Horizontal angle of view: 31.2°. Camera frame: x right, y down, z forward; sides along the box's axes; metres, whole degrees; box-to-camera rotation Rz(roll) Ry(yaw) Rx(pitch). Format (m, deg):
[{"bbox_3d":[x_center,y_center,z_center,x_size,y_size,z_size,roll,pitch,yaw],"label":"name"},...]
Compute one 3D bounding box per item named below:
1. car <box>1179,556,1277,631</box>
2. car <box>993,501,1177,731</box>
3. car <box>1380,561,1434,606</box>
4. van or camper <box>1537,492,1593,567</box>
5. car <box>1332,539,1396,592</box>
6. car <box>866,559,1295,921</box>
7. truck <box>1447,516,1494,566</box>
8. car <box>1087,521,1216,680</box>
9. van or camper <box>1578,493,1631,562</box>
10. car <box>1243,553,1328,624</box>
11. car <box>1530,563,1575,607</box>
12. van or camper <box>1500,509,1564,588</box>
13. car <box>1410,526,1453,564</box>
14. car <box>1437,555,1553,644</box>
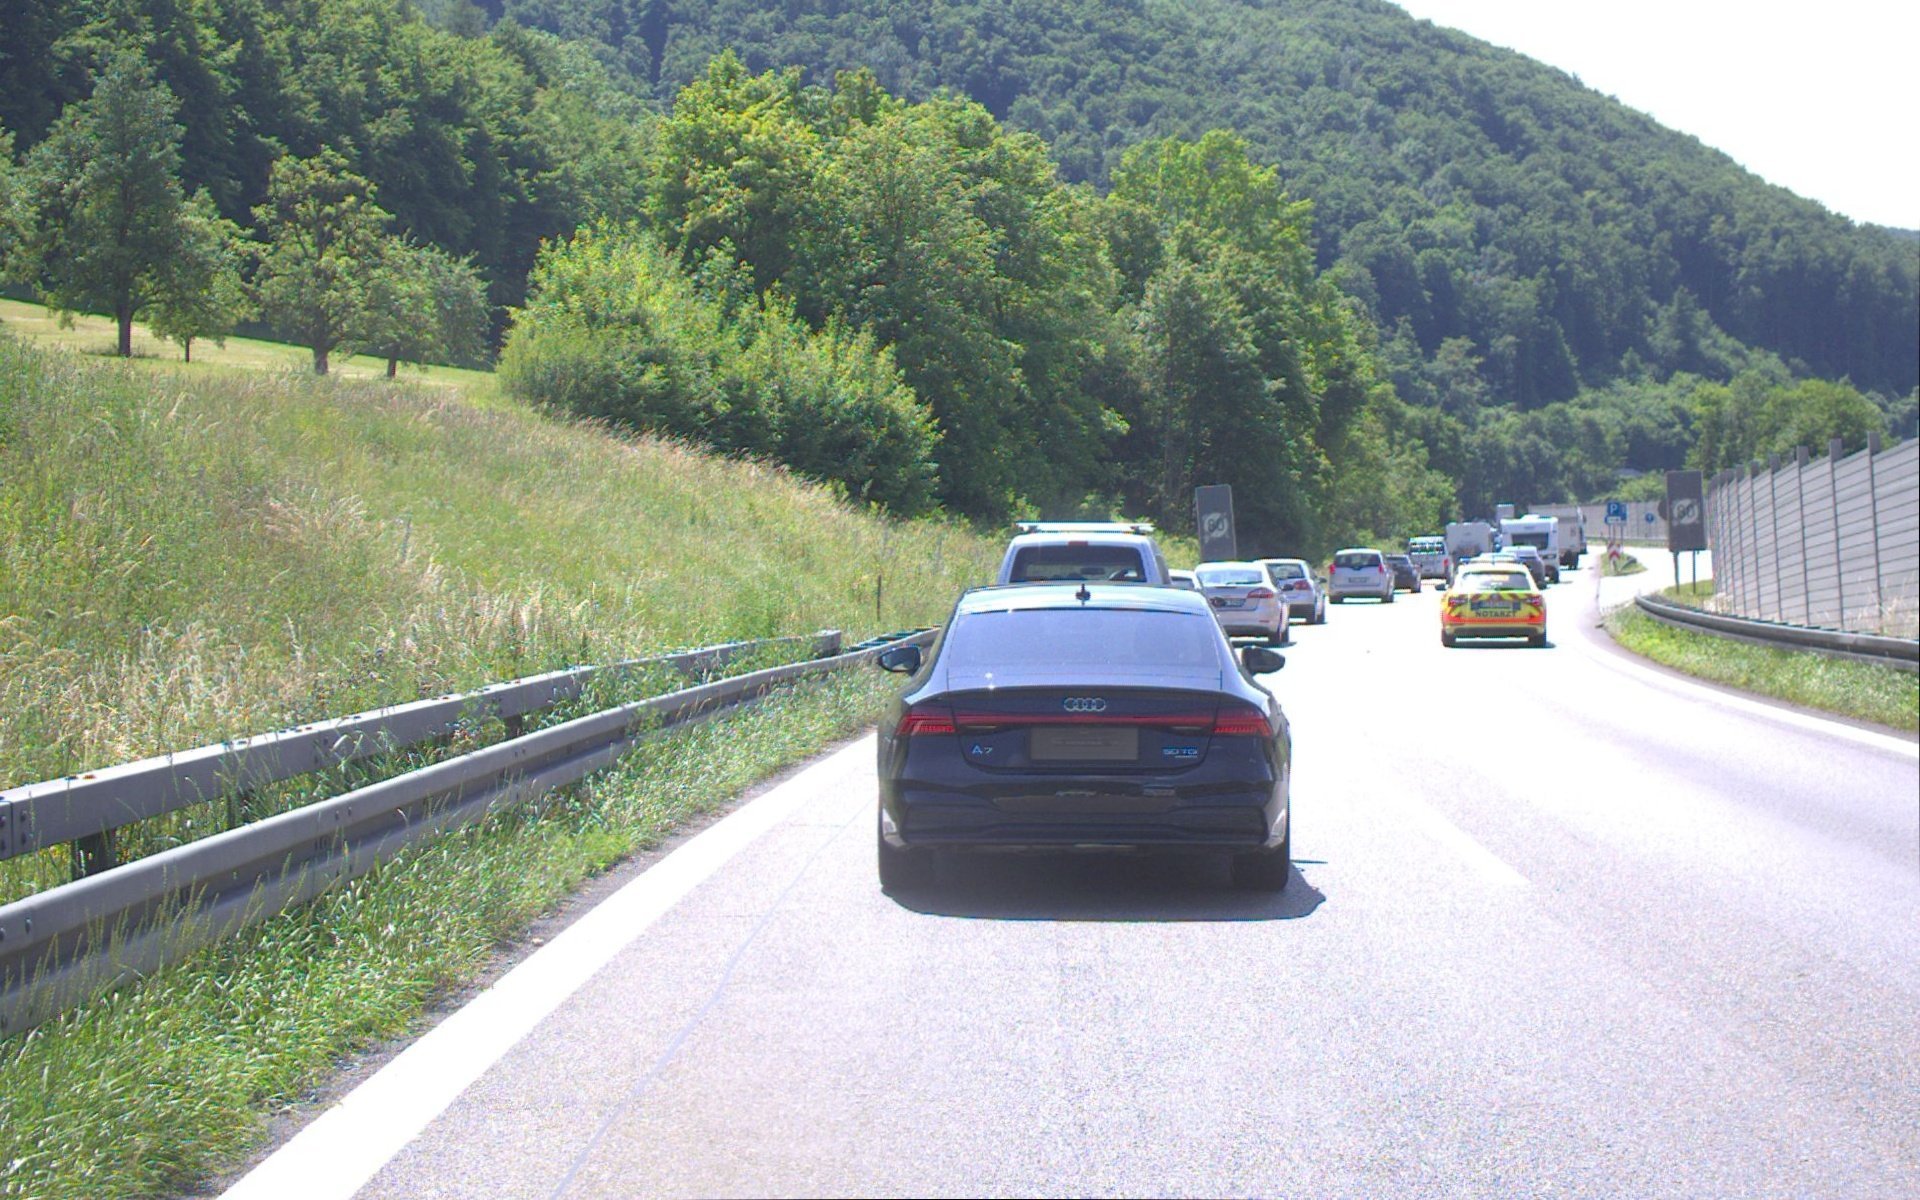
[{"bbox_3d":[4.822,-0.137,61.585,1.521,1.290,3.513,1,1,8],"label":"car"},{"bbox_3d":[1.199,0.110,31.691,1.521,1.961,3.514,2,1,4],"label":"car"},{"bbox_3d":[16.117,-0.594,123.835,1.522,1.547,3.512,2,1,13],"label":"car"},{"bbox_3d":[32.414,-3.724,184.291,2.796,3.894,6.165,1,0,9],"label":"van or camper"},{"bbox_3d":[12.181,-1.036,103.558,1.522,1.547,3.512,2,1,12],"label":"car"},{"bbox_3d":[0.611,0.574,16.392,1.812,1.509,3.514,1,1,3],"label":"car"},{"bbox_3d":[27.832,-3.194,187.412,2.066,2.596,5.611,2,1,13],"label":"truck"},{"bbox_3d":[2.465,-0.006,43.770,1.540,1.918,3.478,1,0,4],"label":"car"},{"bbox_3d":[36.899,-4.112,196.934,2.796,3.828,6.165,1,0,9],"label":"van or camper"},{"bbox_3d":[7.389,-0.277,77.852,1.522,1.547,3.512,2,1,11],"label":"car"},{"bbox_3d":[21.421,-0.550,124.222,1.488,1.565,2.999,1,0,11],"label":"car"},{"bbox_3d":[23.464,-2.084,140.875,2.430,3.144,5.201,1,0,11],"label":"van or camper"},{"bbox_3d":[20.127,-2.330,146.620,1.522,1.547,3.512,2,1,12],"label":"car"},{"bbox_3d":[9.550,-0.028,61.171,1.880,1.493,3.998,-1,1,11],"label":"car"}]
